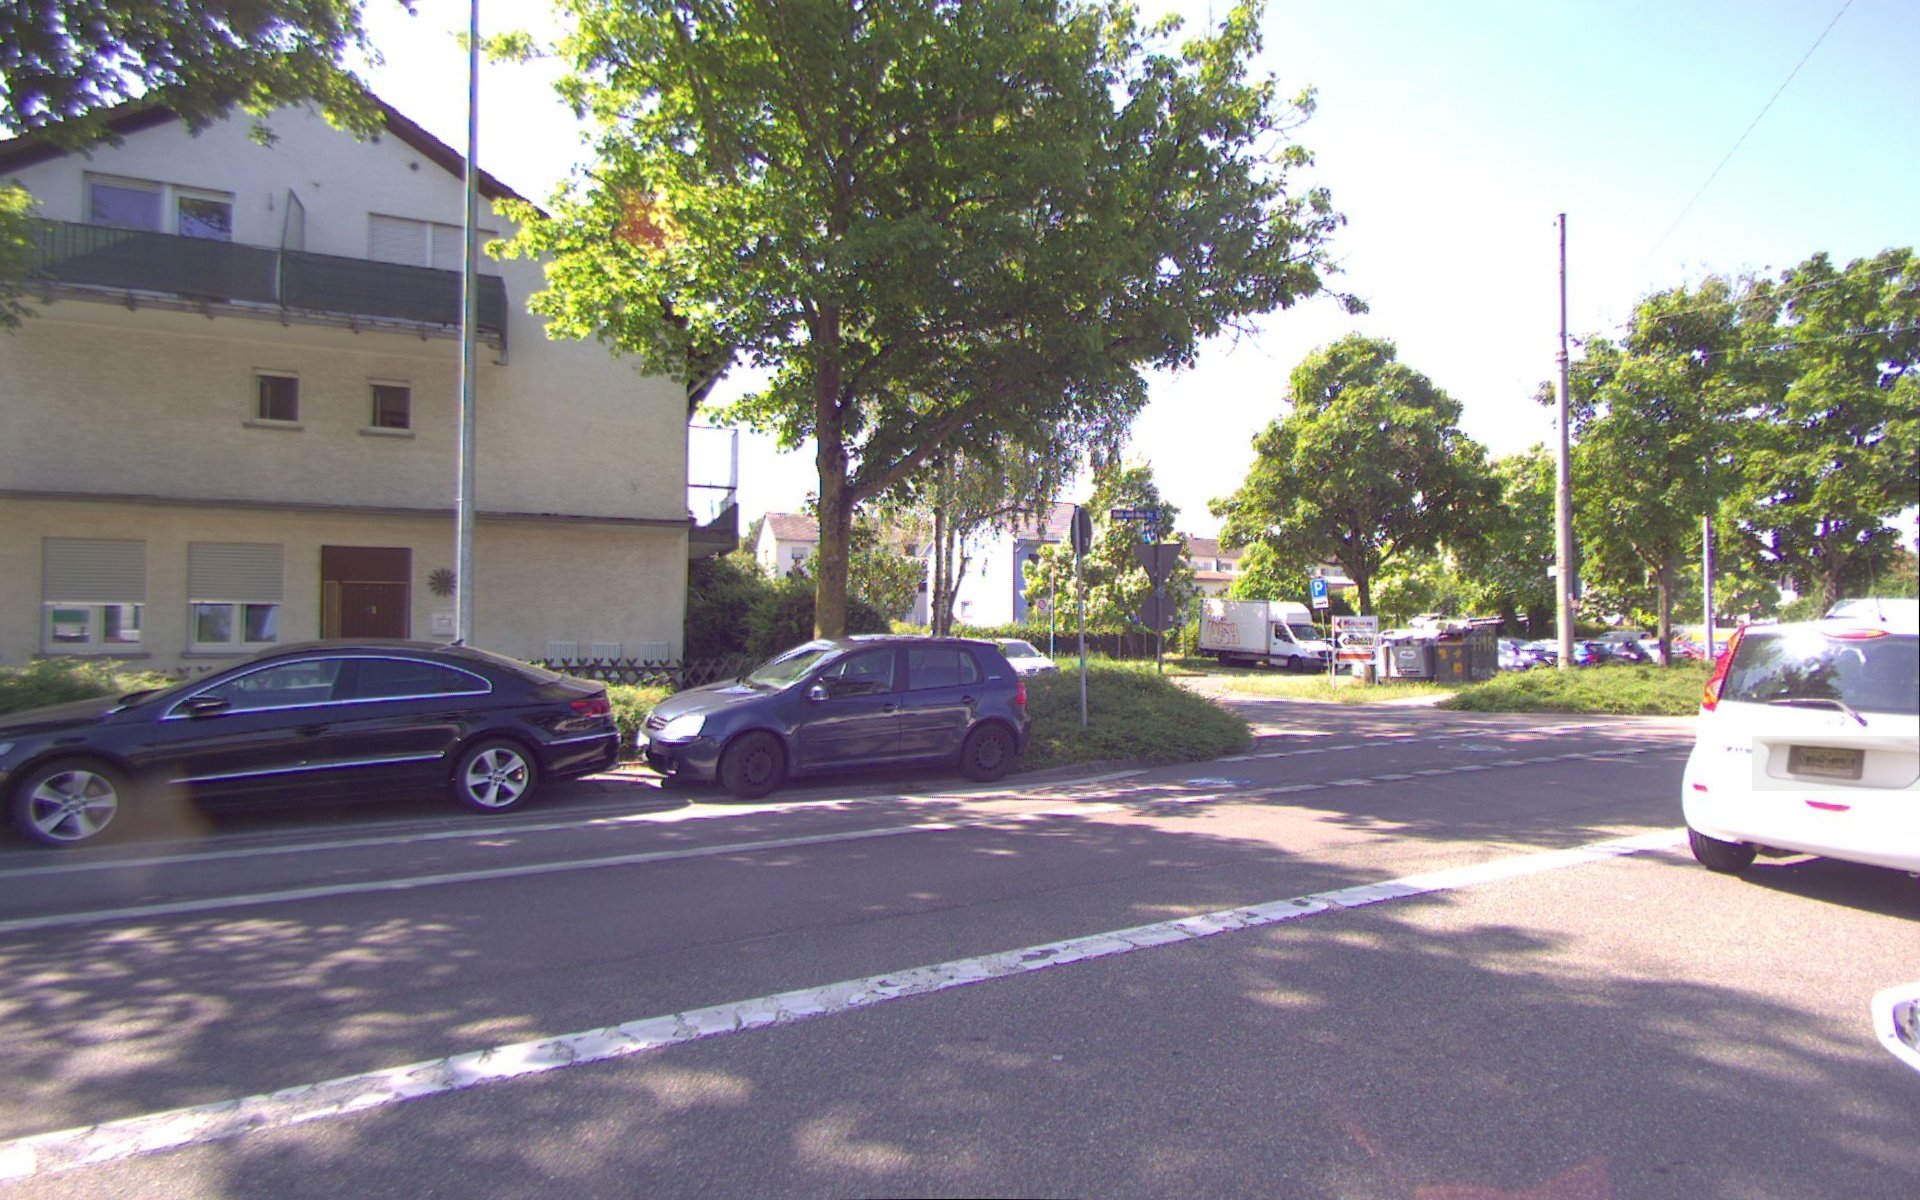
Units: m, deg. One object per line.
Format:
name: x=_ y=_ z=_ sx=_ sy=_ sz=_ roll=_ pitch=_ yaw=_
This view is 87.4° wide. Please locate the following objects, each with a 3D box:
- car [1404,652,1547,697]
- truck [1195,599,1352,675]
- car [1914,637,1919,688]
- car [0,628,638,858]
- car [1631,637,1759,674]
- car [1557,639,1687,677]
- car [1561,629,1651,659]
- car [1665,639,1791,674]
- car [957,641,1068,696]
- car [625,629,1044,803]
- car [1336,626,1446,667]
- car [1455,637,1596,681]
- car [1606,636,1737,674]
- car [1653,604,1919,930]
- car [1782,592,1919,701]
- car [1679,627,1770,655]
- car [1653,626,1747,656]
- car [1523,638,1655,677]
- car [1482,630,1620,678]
car: x=17.311 y=2.485 z=33.899 sx=1.712 sy=1.434 sz=3.964 roll=2 pitch=-4 yaw=-33
truck: x=14.430 y=1.611 z=46.791 sx=2.646 sy=3.151 sz=6.967 roll=1 pitch=0 yaw=-30
car: x=29.347 y=1.815 z=28.750 sx=4.230 sy=1.434 sz=1.854 roll=1 pitch=0 yaw=-31
car: x=-5.223 y=1.000 z=8.326 sx=4.568 sy=1.434 sz=1.854 roll=1 pitch=0 yaw=-31
car: x=30.728 y=2.330 z=42.086 sx=1.712 sy=1.434 sz=3.964 roll=2 pitch=-4 yaw=-33
car: x=26.339 y=2.325 z=40.097 sx=1.712 sy=1.434 sz=3.964 roll=2 pitch=-4 yaw=-33
car: x=44.500 y=2.985 z=69.301 sx=2.043 sy=1.811 sz=4.762 roll=2 pitch=0 yaw=-34
car: x=33.150 y=2.443 z=43.456 sx=1.712 sy=1.434 sz=3.964 roll=2 pitch=-4 yaw=-33
car: x=1.400 y=1.914 z=28.439 sx=1.704 sy=1.434 sz=3.983 roll=1 pitch=-3 yaw=-20
car: x=-1.281 y=1.078 z=10.480 sx=3.988 sy=1.462 sz=1.718 roll=1 pitch=0 yaw=-28
car: x=21.679 y=2.321 z=50.710 sx=2.043 sy=1.811 sz=4.762 roll=2 pitch=0 yaw=-34
car: x=19.683 y=2.071 z=35.123 sx=1.712 sy=1.434 sz=3.964 roll=2 pitch=-4 yaw=-33
car: x=28.817 y=2.240 z=40.785 sx=1.712 sy=1.434 sz=3.964 roll=2 pitch=-4 yaw=-33
car: x=6.407 y=0.850 z=6.256 sx=4.491 sy=1.568 sz=1.655 roll=1 pitch=-1 yaw=-29
car: x=23.783 y=1.138 z=25.776 sx=5.745 sy=2.550 sz=2.114 roll=1 pitch=0 yaw=-29
car: x=54.407 y=2.902 z=71.550 sx=2.043 sy=1.811 sz=4.762 roll=2 pitch=0 yaw=-34
car: x=50.546 y=2.771 z=68.735 sx=2.043 sy=1.811 sz=4.762 roll=2 pitch=0 yaw=-34
car: x=24.158 y=2.209 z=38.716 sx=1.712 sy=1.434 sz=3.964 roll=2 pitch=-4 yaw=-33
car: x=21.402 y=1.967 z=36.508 sx=1.712 sy=1.631 sz=3.964 roll=2 pitch=-4 yaw=-33
